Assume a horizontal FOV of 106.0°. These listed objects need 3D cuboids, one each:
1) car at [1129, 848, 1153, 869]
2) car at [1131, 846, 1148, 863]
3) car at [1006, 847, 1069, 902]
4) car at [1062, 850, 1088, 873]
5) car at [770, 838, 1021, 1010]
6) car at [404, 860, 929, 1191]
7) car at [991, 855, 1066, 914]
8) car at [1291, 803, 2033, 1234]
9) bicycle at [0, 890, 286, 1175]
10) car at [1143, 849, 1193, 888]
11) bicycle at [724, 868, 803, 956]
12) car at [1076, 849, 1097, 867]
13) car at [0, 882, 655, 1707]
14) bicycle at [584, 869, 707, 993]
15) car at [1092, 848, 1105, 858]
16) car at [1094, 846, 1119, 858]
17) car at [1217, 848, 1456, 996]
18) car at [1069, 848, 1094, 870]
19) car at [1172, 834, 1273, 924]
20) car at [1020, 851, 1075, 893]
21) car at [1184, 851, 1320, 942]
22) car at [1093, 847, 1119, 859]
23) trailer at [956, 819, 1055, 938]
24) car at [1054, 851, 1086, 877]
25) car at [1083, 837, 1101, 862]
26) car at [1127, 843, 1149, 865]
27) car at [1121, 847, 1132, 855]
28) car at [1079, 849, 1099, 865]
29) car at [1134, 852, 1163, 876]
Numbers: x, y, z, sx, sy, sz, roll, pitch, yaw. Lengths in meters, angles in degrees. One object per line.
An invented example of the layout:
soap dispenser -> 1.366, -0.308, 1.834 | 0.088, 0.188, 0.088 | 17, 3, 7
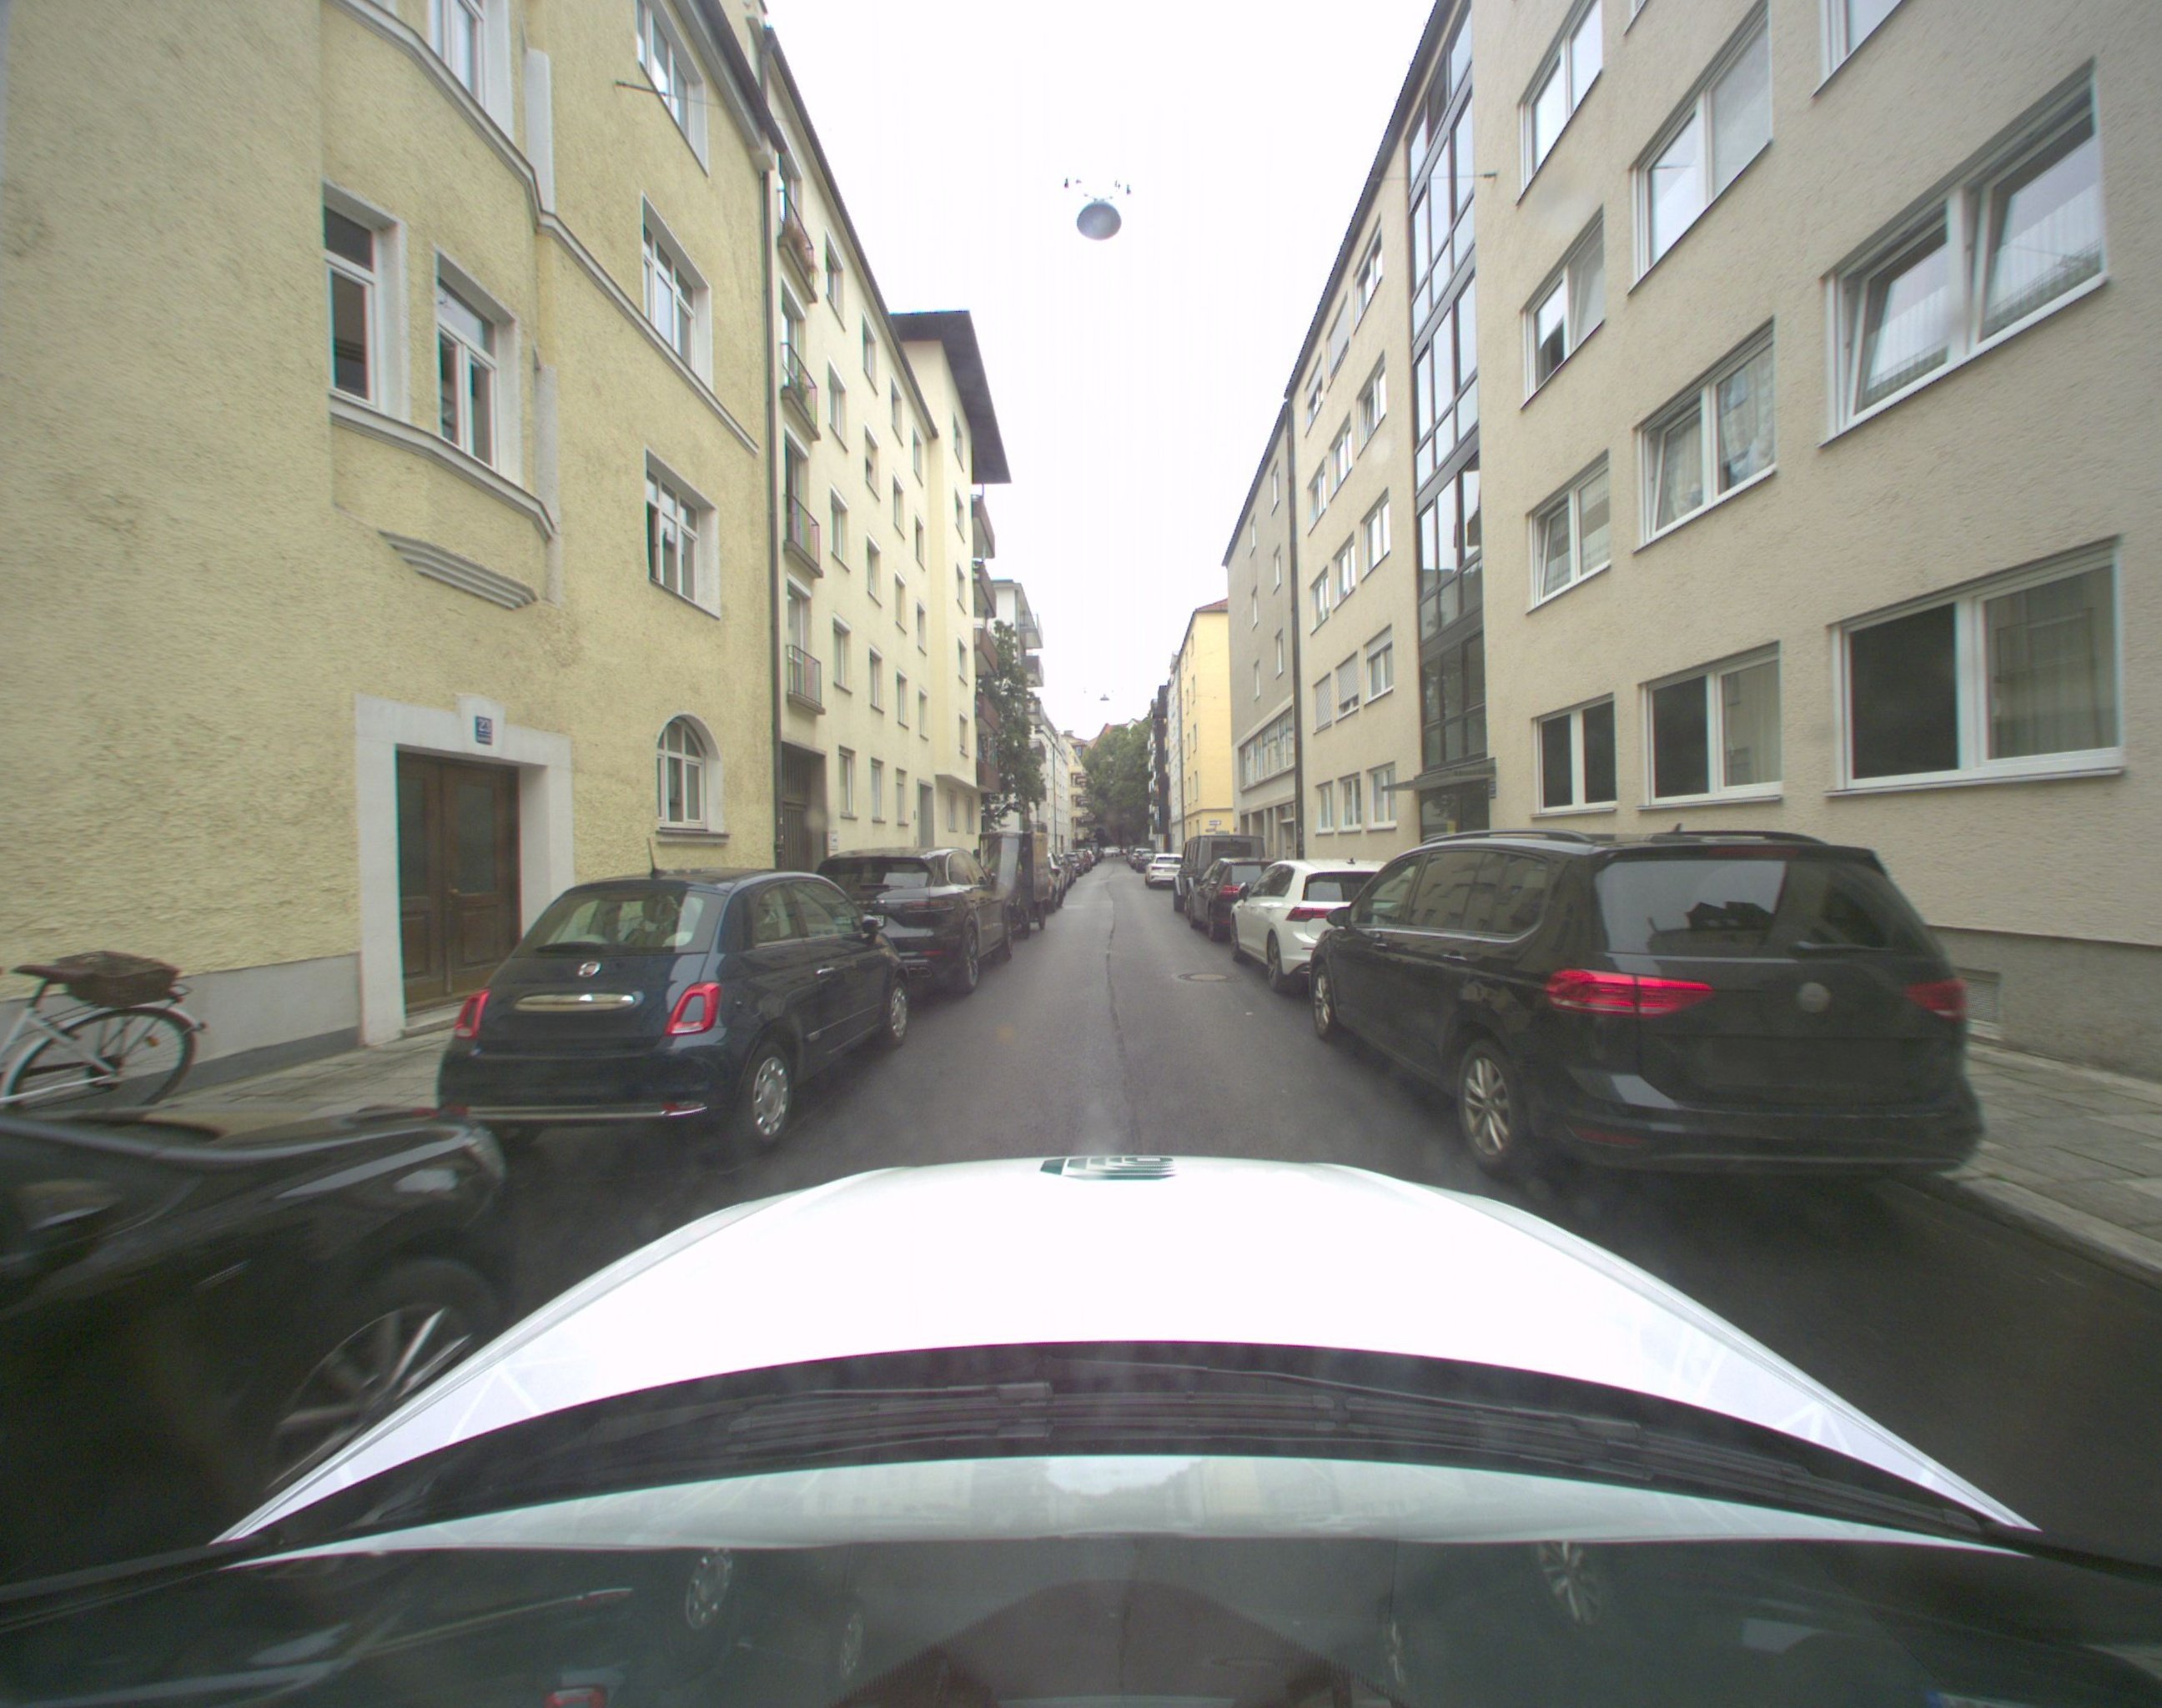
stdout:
car -> 4.796, 0.331, 65.475 | 1.676, 1.567, 4.416 | 1, 1, 1
car -> 7.120, 0.047, 99.715 | 1.822, 1.999, 4.418 | 1, 0, 2
car -> -1.416, 0.658, 28.042 | 1.759, 1.675, 4.369 | -2, 0, 1
car -> -0.416, 0.514, 58.163 | 1.687, 1.442, 3.978 | -3, 0, 1
car -> -2.039, 0.708, 10.401 | 1.871, 1.660, 4.419 | -2, 0, 4
car -> -2.267, 0.819, 5.524 | 1.556, 1.460, 3.479 | -2, 0, 4
car -> -1.379, 0.787, 22.763 | 1.645, 1.435, 3.805 | -2, 0, 2
car -> 2.739, 0.623, 5.191 | 1.706, 1.608, 4.243 | 0, 0, 0
bicycle -> -5.154, 0.834, 4.086 | 0.591, 1.234, 1.737 | -1, 0, 1
car -> 3.706, 0.601, 35.295 | 1.812, 1.408, 3.954 | 0, 3, 1
bicycle -> -4.976, 0.879, 12.874 | 0.592, 1.279, 1.552 | 1, 0, 1
car -> 0.555, 0.334, 77.368 | 1.769, 1.487, 4.523 | -4, 0, 3
car -> -2.312, 0.855, 0.944 | 1.557, 1.460, 3.764 | -2, 0, 1
bicycle -> -4.973, 0.828, 9.415 | 0.533, 1.279, 1.552 | 1, 0, 1
car -> 2.509, -0.163, 115.667 | 1.636, 1.383, 3.484 | -4, 0, 2
car -> 3.976, -0.294, 127.494 | 3.872, 1.584, 1.648 | -4, 0, 1
car -> 2.938, 0.695, 10.343 | 1.706, 1.486, 4.243 | 0, 0, 0
car -> 0.076, 0.381, 64.148 | 1.770, 1.629, 4.417 | -3, 0, 2
car -> 3.380, 0.522, 20.220 | 1.745, 1.975, 4.342 | 1, 1, 0
car -> -1.324, 0.680, 33.606 | 1.758, 1.483, 4.428 | -2, 1, 3
car -> 3.094, 0.706, 15.560 | 1.706, 1.486, 4.243 | 0, 0, 0
car -> 3.907, -0.169, 125.578 | 3.872, 1.584, 1.648 | -4, 0, 1
trailer -> -1.417, 0.448, 16.287 | 1.349, 2.116, 3.322 | -1, 0, 5
car -> -0.653, 0.582, 50.334 | 1.686, 1.442, 3.945 | -3, 0, 3
car -> 1.346, -0.529, 97.039 | 1.929, 2.801, 4.535 | -4, 0, 2
car -> 5.105, -0.010, 73.226 | 1.822, 1.910, 4.418 | 0, 1, 2
car -> 7.952, -0.515, 142.740 | 1.636, 1.383, 3.747 | -4, 0, 2
car -> 0.848, 0.321, 82.387 | 1.770, 1.452, 4.048 | -4, 0, 2
car -> 4.562, 0.644, 55.308 | 1.744, 1.469, 4.345 | 1, 1, 2
